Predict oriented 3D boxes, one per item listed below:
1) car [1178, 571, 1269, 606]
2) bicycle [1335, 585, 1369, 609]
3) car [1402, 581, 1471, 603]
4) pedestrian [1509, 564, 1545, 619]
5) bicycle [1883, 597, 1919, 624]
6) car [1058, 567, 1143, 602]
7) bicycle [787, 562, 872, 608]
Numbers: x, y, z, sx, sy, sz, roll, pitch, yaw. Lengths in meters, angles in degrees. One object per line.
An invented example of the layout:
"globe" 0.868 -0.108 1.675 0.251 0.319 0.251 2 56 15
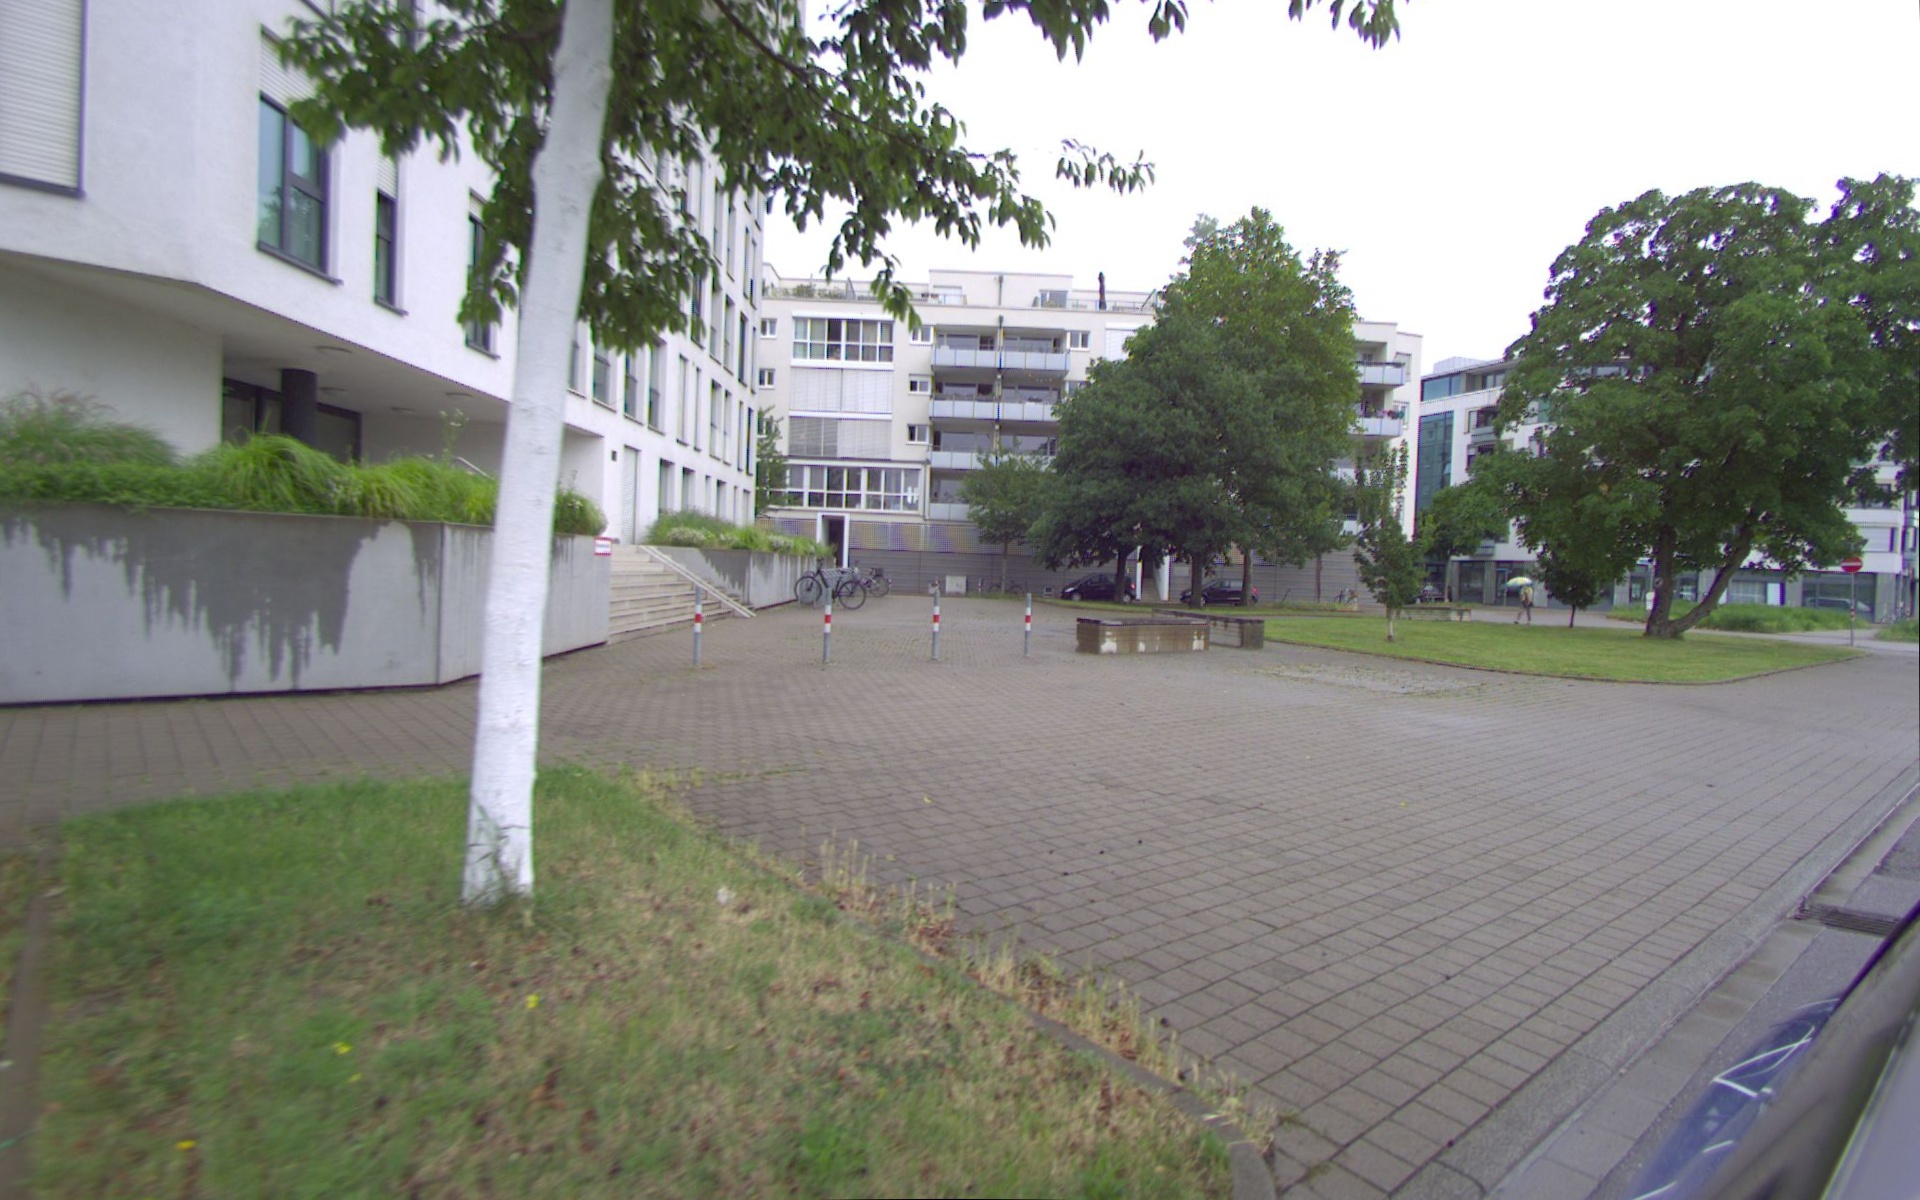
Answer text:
"car" 13.290 -0.596 51.179 4.041 1.567 1.736 2 1 -1
"bicycle" 19.848 -0.168 51.282 0.712 1.101 2.485 2 2 0
"car" 34.709 -0.565 73.698 4.428 1.450 1.818 1 2 -18
"pedestrian" 21.317 -0.328 38.056 0.611 2.038 0.967 1 1 -40
"bicycle" 57.012 0.639 60.791 0.617 1.541 2.200 2 2 -20
"car" 7.061 -0.787 51.067 3.923 1.567 1.736 2 1 -1
"bicycle" -3.269 -0.383 25.410 2.033 1.046 0.725 2 1 -1
